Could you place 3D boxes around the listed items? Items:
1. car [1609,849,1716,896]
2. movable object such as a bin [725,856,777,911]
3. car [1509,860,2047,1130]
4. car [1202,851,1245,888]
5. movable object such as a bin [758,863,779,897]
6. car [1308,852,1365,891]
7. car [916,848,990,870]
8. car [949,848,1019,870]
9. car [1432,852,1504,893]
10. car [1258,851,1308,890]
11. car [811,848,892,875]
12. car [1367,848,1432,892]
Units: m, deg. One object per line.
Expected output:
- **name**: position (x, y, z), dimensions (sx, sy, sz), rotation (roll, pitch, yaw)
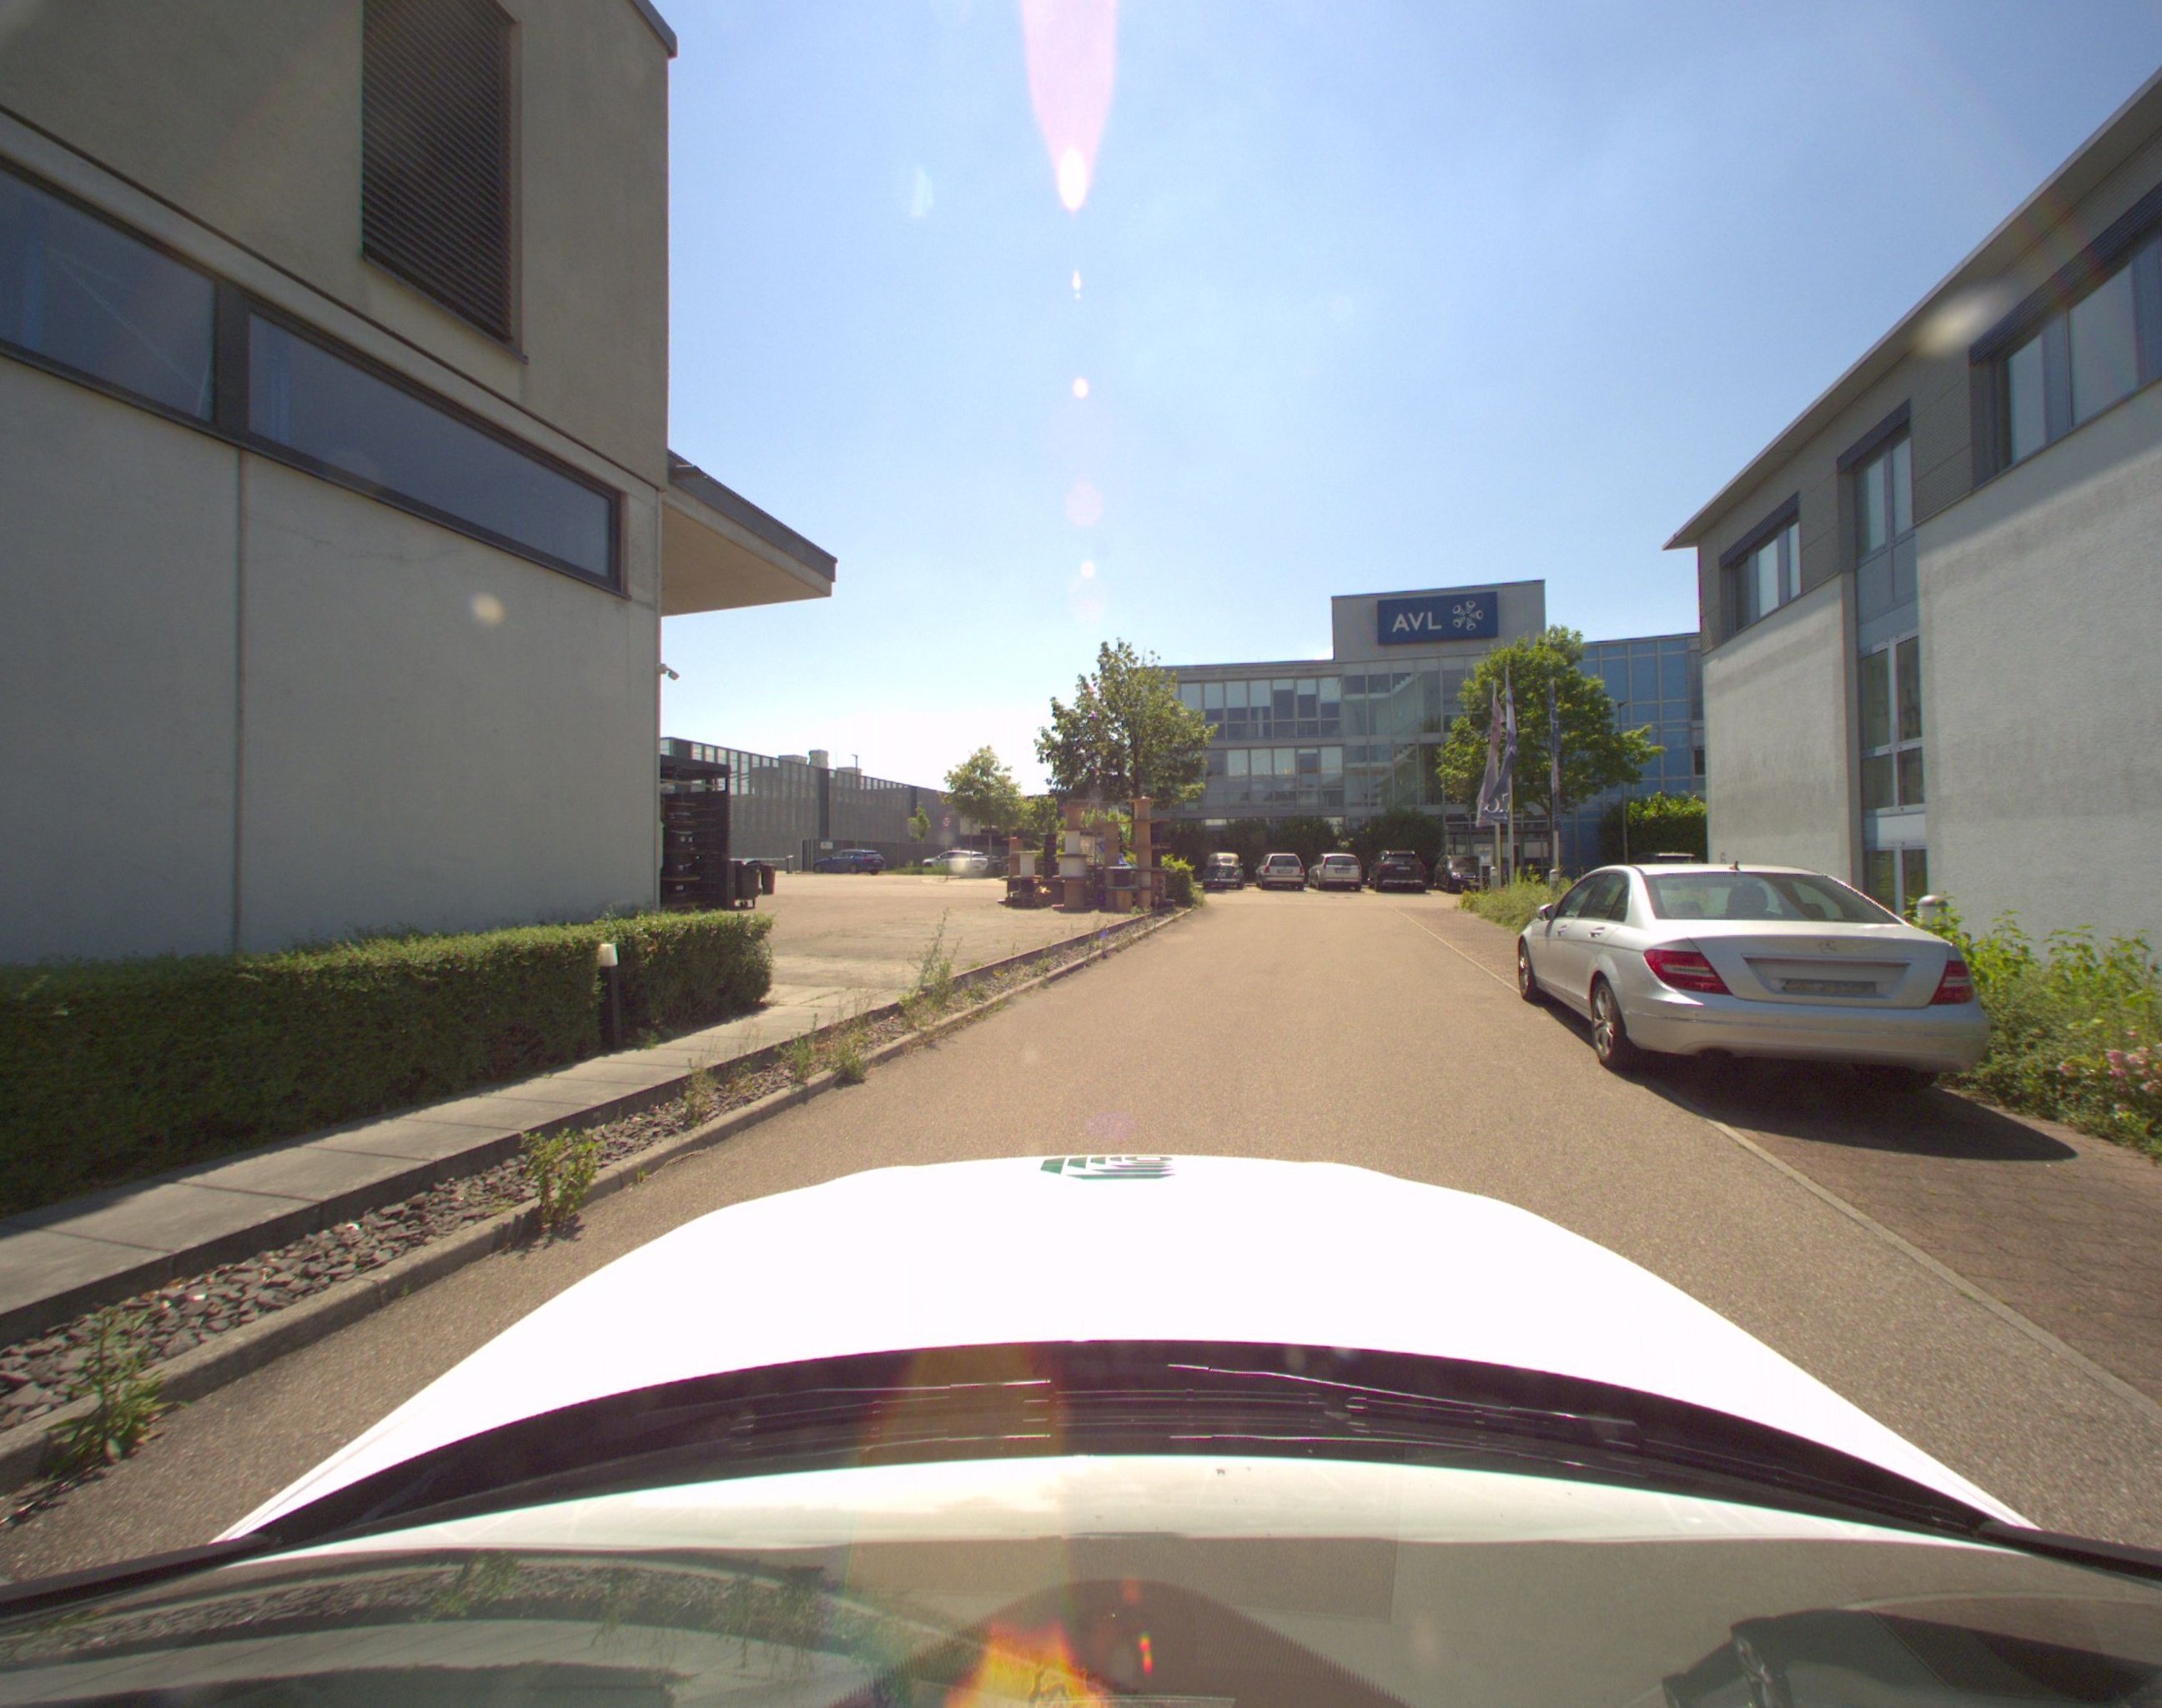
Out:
- **car**: position (21.687, 0.628, 30.578), dimensions (1.806, 1.619, 4.356), rotation (-1, 1, 14)
- **movable object such as a bin**: position (-8.297, 0.733, 20.491), dimensions (0.804, 1.345, 0.889), rotation (-1, -1, 21)
- **car**: position (4.872, 0.754, 6.612), dimensions (1.785, 1.398, 4.440), rotation (0, -1, 19)
- **car**: position (5.996, 0.603, 34.036), dimensions (1.531, 1.449, 3.667), rotation (1, 1, 13)
- **movable object such as a bin**: position (-9.649, 0.789, 25.191), dimensions (0.578, 1.036, 0.423), rotation (0, -1, -18)
- **car**: position (10.496, 0.670, 33.657), dimensions (1.754, 1.449, 3.664), rotation (1, 1, 10)
- **car**: position (-8.903, 0.321, 56.583), dimensions (4.793, 1.491, 2.012), rotation (1, 1, 29)
- **car**: position (-7.068, 0.310, 59.084), dimensions (4.793, 1.491, 2.012), rotation (1, 1, 29)
- **car**: position (15.196, 0.672, 32.188), dimensions (1.757, 1.482, 4.275), rotation (-1, 1, 14)
- **car**: position (8.297, 0.640, 33.726), dimensions (1.721, 1.449, 3.664), rotation (1, 1, 10)
- **car**: position (-13.483, 0.398, 47.752), dimensions (4.457, 1.491, 2.012), rotation (1, 1, 29)
- **car**: position (12.738, 0.594, 32.772), dimensions (1.913, 1.610, 4.002), rotation (1, 1, 14)
